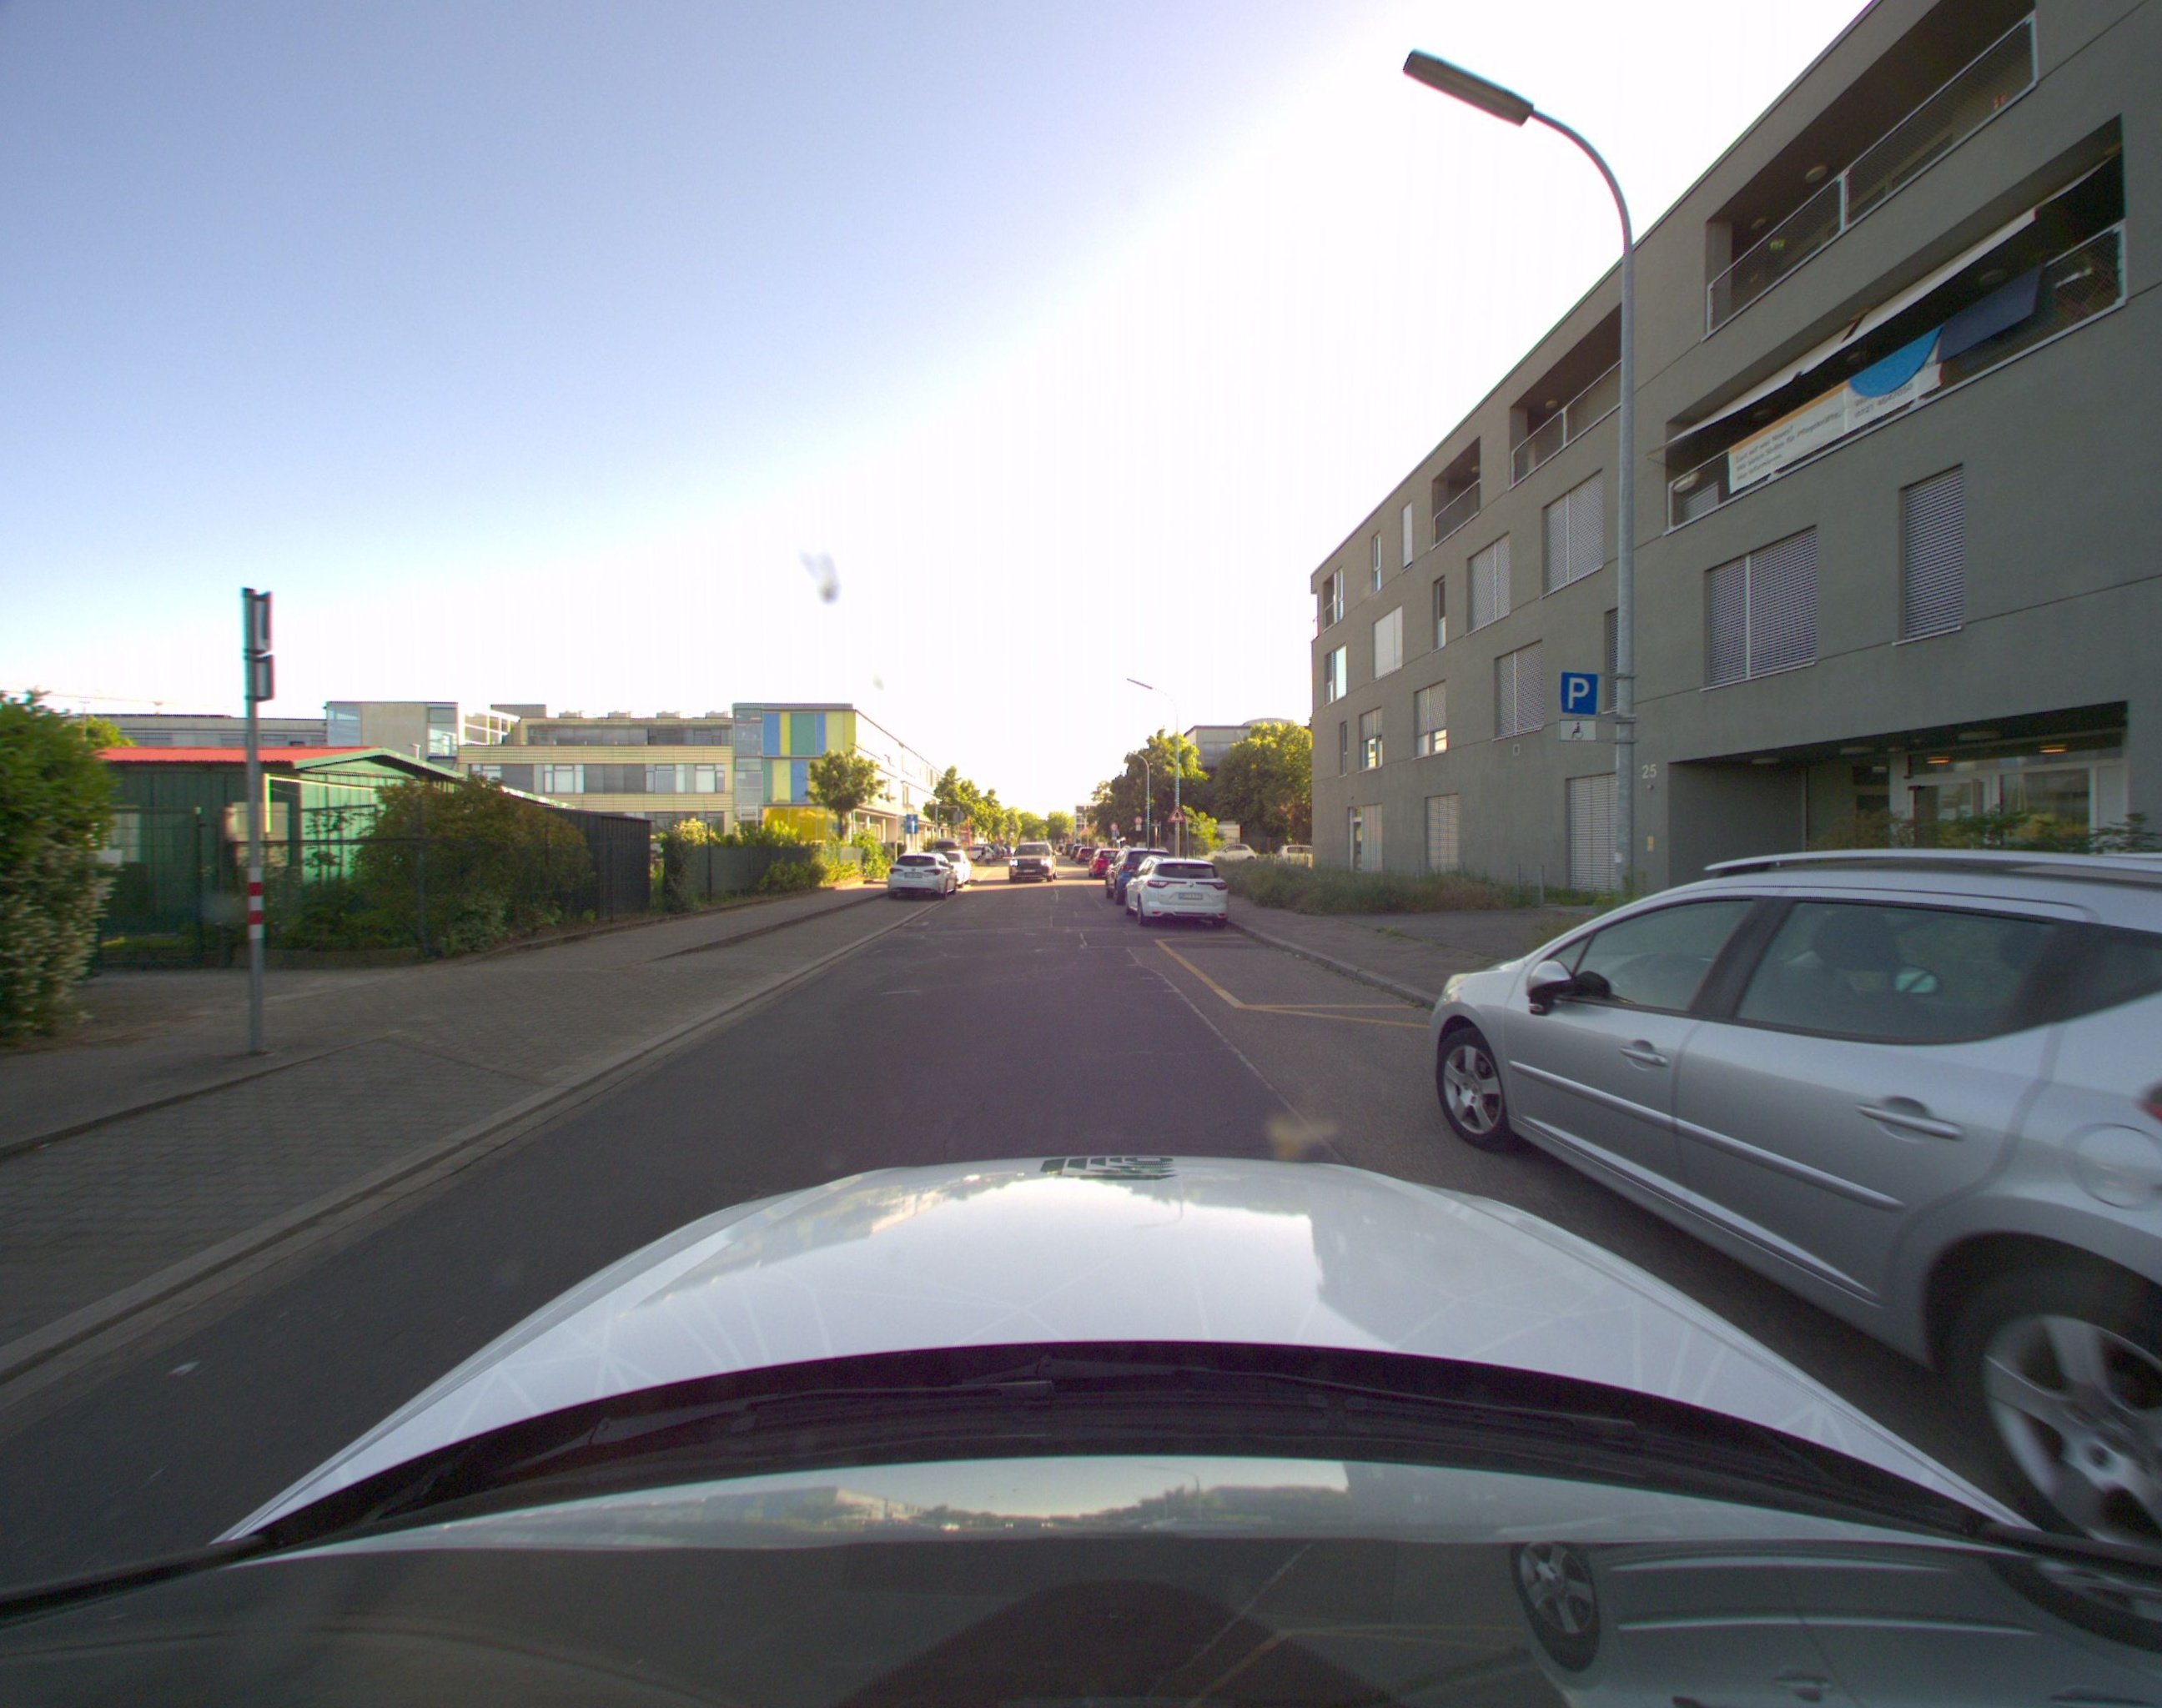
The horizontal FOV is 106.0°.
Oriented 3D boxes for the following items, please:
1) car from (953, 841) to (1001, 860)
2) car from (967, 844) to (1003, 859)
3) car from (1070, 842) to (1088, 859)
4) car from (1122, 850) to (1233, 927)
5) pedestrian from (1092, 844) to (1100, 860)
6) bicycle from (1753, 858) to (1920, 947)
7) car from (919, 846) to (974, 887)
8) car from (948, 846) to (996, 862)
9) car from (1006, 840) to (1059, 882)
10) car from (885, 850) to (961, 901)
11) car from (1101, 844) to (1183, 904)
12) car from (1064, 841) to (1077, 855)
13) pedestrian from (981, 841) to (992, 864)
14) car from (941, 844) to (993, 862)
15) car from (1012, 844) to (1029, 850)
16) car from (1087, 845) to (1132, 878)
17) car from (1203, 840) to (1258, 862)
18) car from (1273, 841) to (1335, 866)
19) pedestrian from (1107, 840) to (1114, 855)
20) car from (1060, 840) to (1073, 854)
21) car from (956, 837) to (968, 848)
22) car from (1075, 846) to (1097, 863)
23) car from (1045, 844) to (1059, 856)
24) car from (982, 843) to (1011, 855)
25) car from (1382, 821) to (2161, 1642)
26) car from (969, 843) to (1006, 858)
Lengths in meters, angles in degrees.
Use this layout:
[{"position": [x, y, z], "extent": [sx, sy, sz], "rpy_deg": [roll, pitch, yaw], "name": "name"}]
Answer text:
[{"position": [-10.785, -0.375, 84.481], "extent": [4.731, 1.865, 1.826], "rpy_deg": [1, 1, -3], "name": "car"}, {"position": [-10.739, -0.330, 91.482], "extent": [3.983, 1.607, 1.868], "rpy_deg": [1, 0, -7], "name": "car"}, {"position": [-0.282, -0.410, 88.979], "extent": [1.807, 1.666, 4.590], "rpy_deg": [1, 2, -2], "name": "car"}, {"position": [1.989, 0.653, 18.024], "extent": [1.740, 1.429, 4.582], "rpy_deg": [1, 1, -2], "name": "car"}, {"position": [1.751, -0.231, 95.623], "extent": [0.716, 1.758, 0.884], "rpy_deg": [-3, 1, -2], "name": "pedestrian"}, {"position": [9.987, 0.599, 10.866], "extent": [0.550, 1.061, 1.842], "rpy_deg": [0, 1, 1], "name": "bicycle"}, {"position": [-5.386, 0.459, 33.088], "extent": [1.692, 1.513, 4.512], "rpy_deg": [2, 1, -3], "name": "car"}, {"position": [-10.519, -0.041, 78.847], "extent": [4.423, 1.501, 1.826], "rpy_deg": [0, 0, -3], "name": "car"}, {"position": [-2.127, 0.271, 36.990], "extent": [1.935, 1.727, 4.840], "rpy_deg": [-2, 1, 1], "name": "car"}, {"position": [-5.041, 0.624, 26.538], "extent": [1.742, 1.446, 4.537], "rpy_deg": [1, 1, -2], "name": "car"}, {"position": [1.701, 0.514, 24.380], "extent": [1.813, 1.599, 4.621], "rpy_deg": [1, 1, -4], "name": "car"}, {"position": [-1.448, -0.831, 113.886], "extent": [1.729, 1.830, 3.902], "rpy_deg": [-1, 1, -2], "name": "car"}, {"position": [-8.005, -0.132, 68.920], "extent": [0.855, 1.842, 0.825], "rpy_deg": [1, 0, -1], "name": "pedestrian"}, {"position": [-10.622, -0.101, 76.097], "extent": [4.596, 1.651, 1.868], "rpy_deg": [0, 0, 0], "name": "car"}, {"position": [-14.877, -1.707, 200.685], "extent": [3.977, 1.519, 1.998], "rpy_deg": [0, -1, -3], "name": "car"}, {"position": [1.379, 0.347, 40.555], "extent": [1.815, 1.499, 4.447], "rpy_deg": [1, 1, -3], "name": "car"}, {"position": [10.467, -0.204, 57.216], "extent": [3.537, 1.486, 1.599], "rpy_deg": [-1, 1, -2], "name": "car"}, {"position": [13.401, -0.047, 49.154], "extent": [3.314, 1.458, 1.715], "rpy_deg": [-1, 1, 2], "name": "car"}, {"position": [3.288, -0.694, 90.432], "extent": [0.697, 1.661, 0.751], "rpy_deg": [-3, 1, -3], "name": "pedestrian"}, {"position": [-2.300, -1.115, 126.306], "extent": [1.870, 1.978, 3.996], "rpy_deg": [-2, 1, -3], "name": "car"}, {"position": [-22.665, -2.249, 155.350], "extent": [1.989, 2.014, 3.995], "rpy_deg": [0, -1, -3], "name": "car"}, {"position": [0.411, -0.013, 72.881], "extent": [1.716, 1.454, 4.646], "rpy_deg": [1, 1, -3], "name": "car"}, {"position": [-3.706, -0.503, 105.530], "extent": [1.738, 1.543, 3.998], "rpy_deg": [0, 1, -1], "name": "car"}, {"position": [-12.167, -0.713, 117.167], "extent": [4.209, 1.603, 1.868], "rpy_deg": [1, 0, -7], "name": "car"}, {"position": [2.830, 0.710, 3.098], "extent": [1.702, 1.526, 4.152], "rpy_deg": [2, 0, -2], "name": "car"}, {"position": [-10.801, -0.403, 94.435], "extent": [4.242, 1.611, 2.043], "rpy_deg": [1, 1, -7], "name": "car"}]
